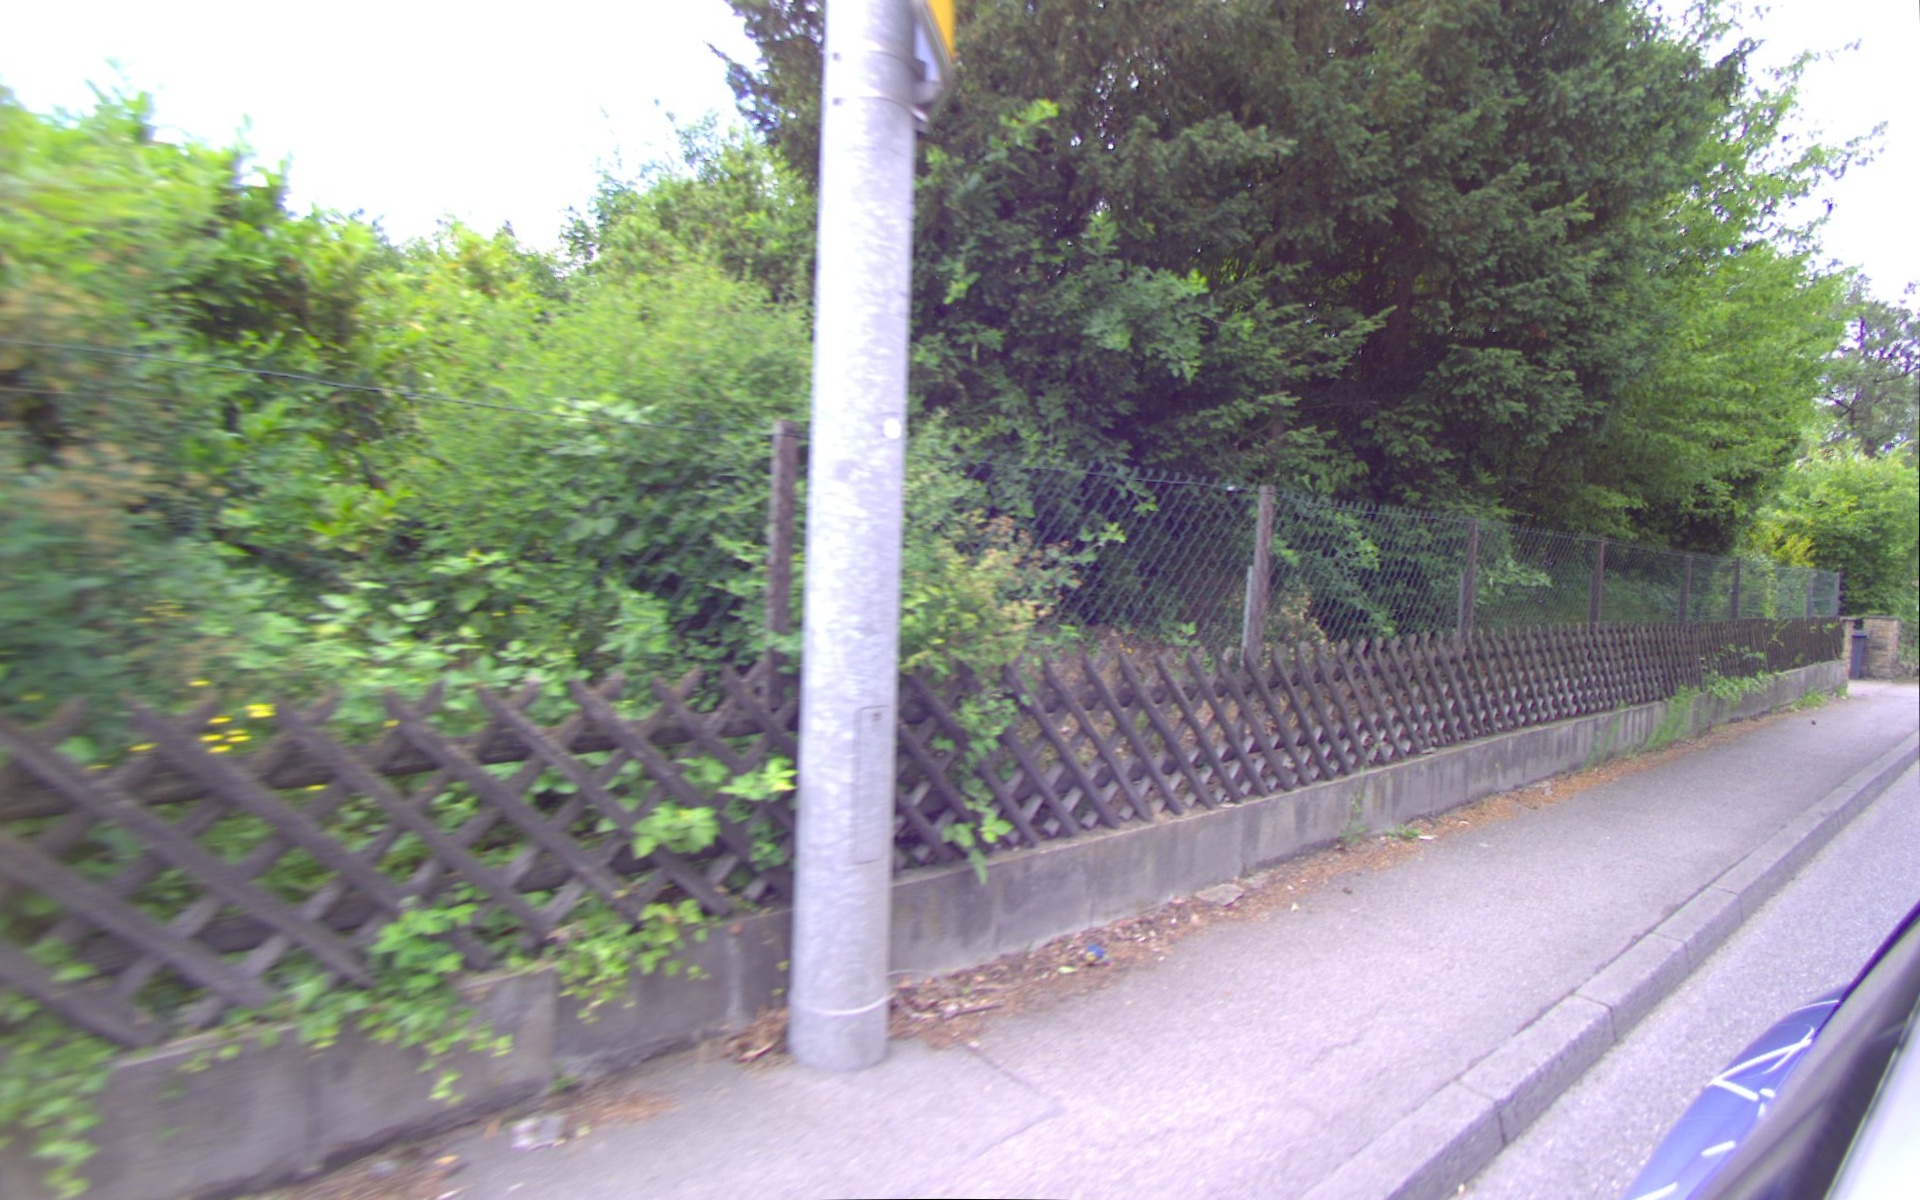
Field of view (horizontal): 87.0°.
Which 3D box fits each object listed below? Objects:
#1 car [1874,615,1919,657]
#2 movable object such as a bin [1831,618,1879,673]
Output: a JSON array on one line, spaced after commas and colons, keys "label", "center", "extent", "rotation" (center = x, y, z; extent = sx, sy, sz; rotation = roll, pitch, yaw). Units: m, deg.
[{"label": "car", "center": [40.350, 1.575, 41.653], "extent": [1.629, 1.614, 3.674], "rotation": [2, 2, -15]}, {"label": "movable object such as a bin", "center": [18.437, 0.934, 20.854], "extent": [0.534, 1.058, 0.505], "rotation": [5, 2, 22]}]
